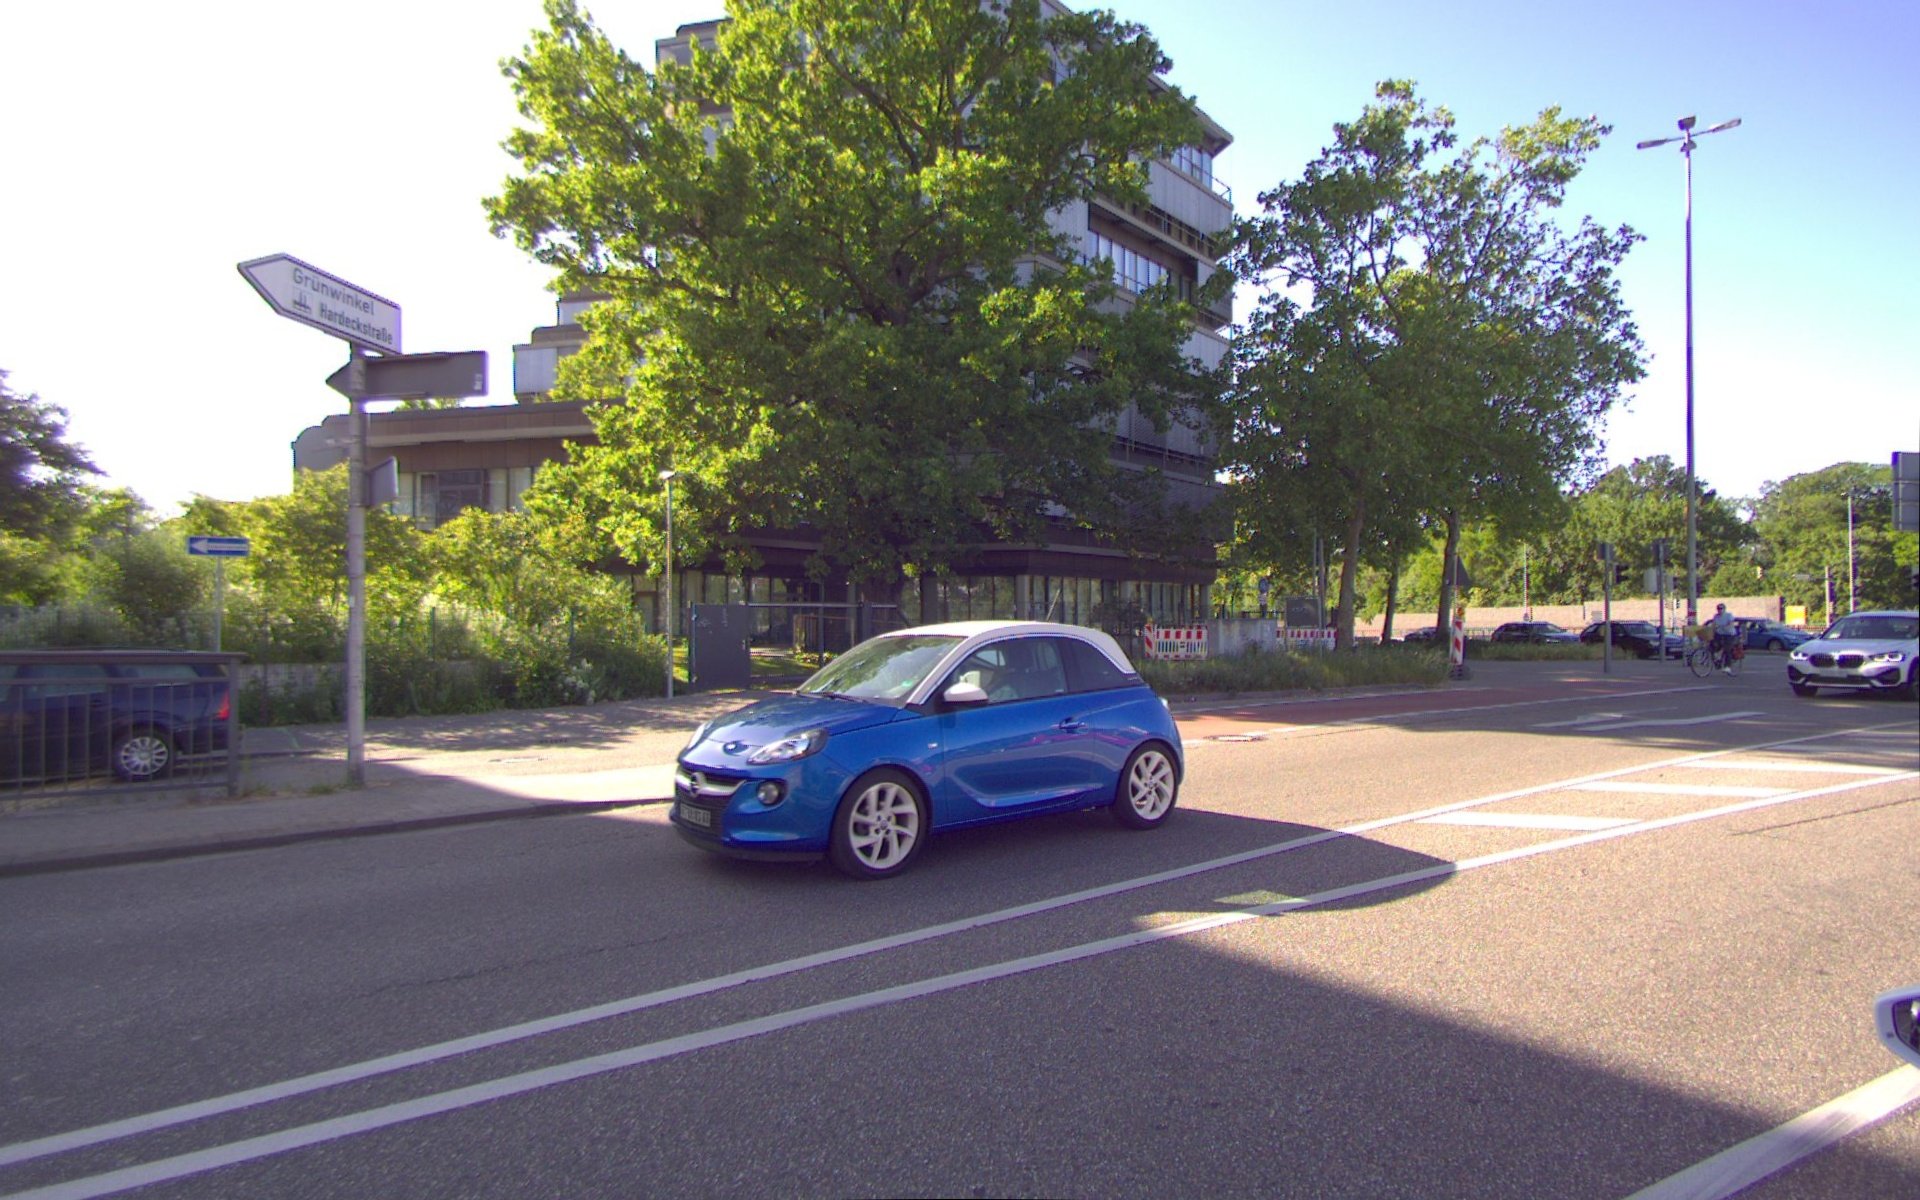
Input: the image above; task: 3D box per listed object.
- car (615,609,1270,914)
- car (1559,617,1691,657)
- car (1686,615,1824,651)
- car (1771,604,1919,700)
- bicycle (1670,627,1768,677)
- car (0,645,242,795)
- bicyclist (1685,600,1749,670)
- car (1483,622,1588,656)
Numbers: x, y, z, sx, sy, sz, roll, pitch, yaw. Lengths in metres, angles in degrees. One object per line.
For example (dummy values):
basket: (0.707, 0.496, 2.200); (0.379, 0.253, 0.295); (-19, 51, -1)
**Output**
car: (0.055, 0.854, 7.080); (4.408, 1.523, 1.808); (1, -2, -36)
car: (25.567, 1.414, 38.804); (1.792, 1.457, 4.446); (0, -2, -7)
car: (34.239, 1.400, 43.399); (1.797, 1.457, 4.435); (0, -2, -17)
car: (17.828, 0.947, 19.403); (4.573, 1.675, 1.825); (0, -2, -30)
bicycle: (19.124, 1.289, 25.320); (2.288, 1.218, 0.687); (0, -1, -15)
car: (-10.774, 1.312, 11.238); (4.411, 1.523, 1.806); (1, -2, -38)
bicyclist: (19.077, 0.881, 25.317); (1.178, 1.724, 0.687); (0, -1, -14)
car: (25.858, 1.734, 45.286); (1.792, 1.457, 4.446); (0, -2, -7)
